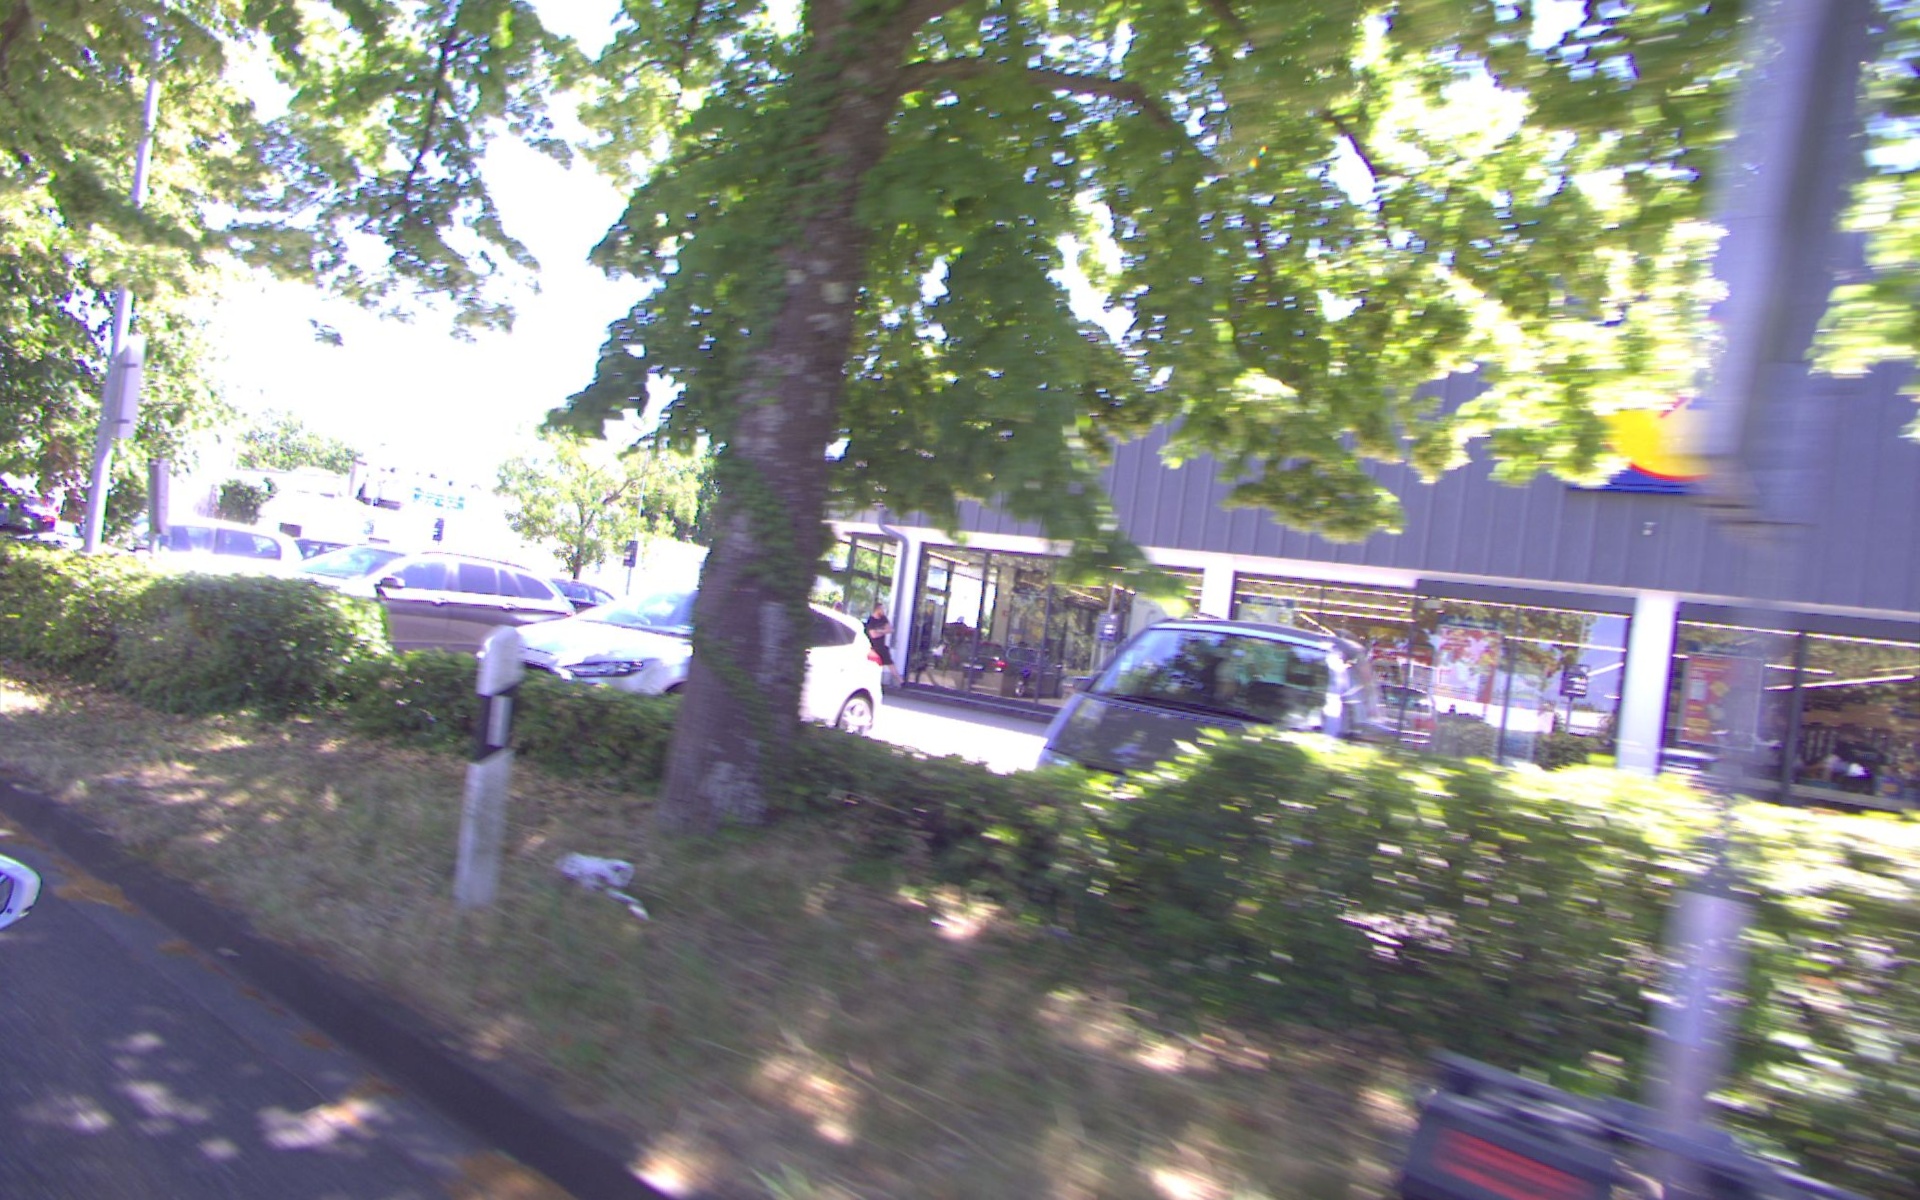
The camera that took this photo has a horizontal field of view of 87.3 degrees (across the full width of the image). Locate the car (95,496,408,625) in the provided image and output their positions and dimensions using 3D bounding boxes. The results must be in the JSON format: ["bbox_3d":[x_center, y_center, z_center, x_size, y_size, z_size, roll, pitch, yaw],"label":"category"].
[{"bbox_3d":[-12.604,-0.644,18.275,4.250,1.520,1.736,10,-2,-26],"label":"car"}]

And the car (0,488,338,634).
[{"bbox_3d":[-11.110,-0.466,14.316,1.554,1.524,3.408,8,-1,25],"label":"car"}]

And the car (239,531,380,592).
[{"bbox_3d":[-23.802,-1.357,36.984,1.622,1.548,4.004,7,-3,23],"label":"car"}]

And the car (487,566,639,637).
[{"bbox_3d":[-11.005,0.076,28.117,1.643,1.432,3.608,7,-3,28],"label":"car"}]

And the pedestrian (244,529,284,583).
[{"bbox_3d":[-22.525,-1.419,32.554,0.695,1.610,0.680,7,-1,29],"label":"pedestrian"}]

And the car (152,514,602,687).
[{"bbox_3d":[-6.661,0.138,12.105,1.777,1.498,4.325,7,-2,26],"label":"car"}]

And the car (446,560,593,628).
[{"bbox_3d":[-13.071,-0.139,30.040,1.716,1.474,3.608,7,-3,28],"label":"car"}]

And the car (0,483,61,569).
[{"bbox_3d":[-21.721,-1.860,20.582,1.863,1.686,4.523,7,-2,32],"label":"car"}]

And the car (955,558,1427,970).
[{"bbox_3d":[2.043,0.976,7.152,1.965,1.695,4.864,7,-3,27],"label":"car"}]

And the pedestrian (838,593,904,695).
[{"bbox_3d":[-1.649,0.816,18.662,0.770,1.774,0.700,7,-1,23],"label":"pedestrian"}]

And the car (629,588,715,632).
[{"bbox_3d":[-14.292,0.527,50.063,1.625,1.667,3.869,6,-2,32],"label":"car"}]

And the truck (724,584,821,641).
[{"bbox_3d":[-10.579,0.750,57.308,2.142,2.484,5.485,7,-3,30],"label":"truck"}]

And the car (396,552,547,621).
[{"bbox_3d":[-15.056,-0.375,31.184,1.787,1.520,3.734,7,-3,28],"label":"car"}]

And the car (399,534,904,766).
[{"bbox_3d":[-2.431,0.523,9.164,1.918,1.427,4.245,7,-2,26],"label":"car"}]

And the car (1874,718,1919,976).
[{"bbox_3d":[6.602,1.577,4.973,1.965,1.658,3.999,7,-2,28],"label":"car"}]

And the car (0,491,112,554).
[{"bbox_3d":[-35.199,-3.014,39.053,4.180,1.912,1.711,7,-2,25],"label":"car"}]

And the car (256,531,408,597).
[{"bbox_3d":[-21.799,-1.211,35.097,1.776,1.580,4.035,6,-4,27],"label":"car"}]
